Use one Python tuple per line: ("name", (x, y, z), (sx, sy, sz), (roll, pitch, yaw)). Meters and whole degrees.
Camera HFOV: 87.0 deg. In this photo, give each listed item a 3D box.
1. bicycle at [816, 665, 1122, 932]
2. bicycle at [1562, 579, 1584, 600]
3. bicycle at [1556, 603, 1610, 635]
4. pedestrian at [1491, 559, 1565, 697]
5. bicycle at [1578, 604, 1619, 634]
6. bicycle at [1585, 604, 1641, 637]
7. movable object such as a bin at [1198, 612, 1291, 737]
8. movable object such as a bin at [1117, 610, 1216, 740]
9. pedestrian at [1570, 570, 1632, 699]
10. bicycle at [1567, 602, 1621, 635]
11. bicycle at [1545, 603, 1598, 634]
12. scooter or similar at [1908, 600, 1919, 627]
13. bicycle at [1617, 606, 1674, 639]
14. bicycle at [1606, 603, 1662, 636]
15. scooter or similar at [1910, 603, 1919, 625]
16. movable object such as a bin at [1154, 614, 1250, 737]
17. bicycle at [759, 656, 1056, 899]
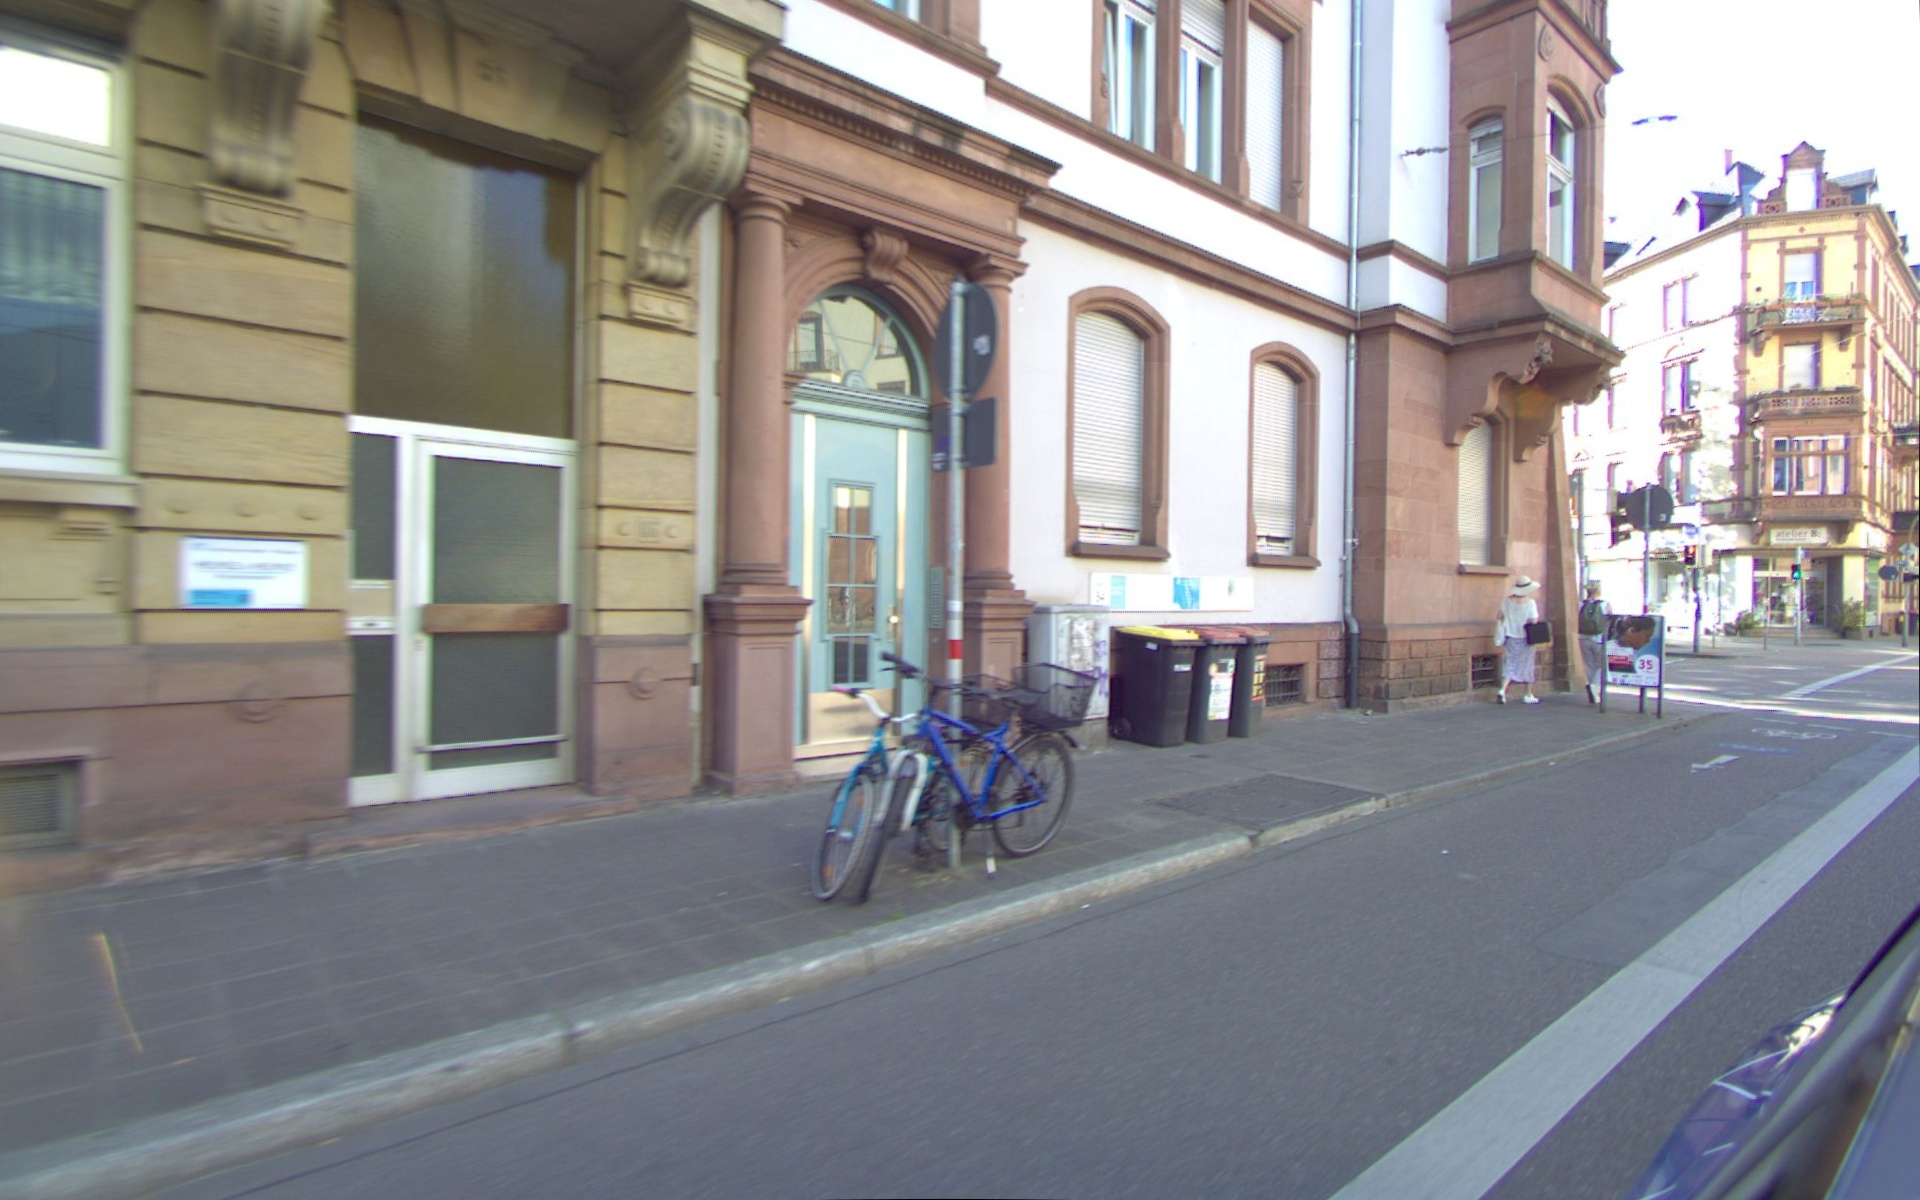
("bicycle", (0.119, 0.849, 4.860), (0.430, 0.959, 1.737), (1, 1, 42))
("bicycle", (29.901, -0.529, 49.343), (0.389, 1.016, 1.000), (0, 0, -6))
("bicycle", (24.576, 0.723, 39.916), (2.076, 1.157, 0.619), (-2, 1, -19))
("pedestrian", (7.704, 0.370, 13.733), (0.661, 1.805, 0.706), (2, -1, -42))
("bicycle", (26.315, 0.762, 41.703), (1.583, 1.157, 0.545), (-2, 1, -19))
("bicycle", (24.942, 0.765, 38.669), (2.076, 1.157, 0.619), (-2, 1, -19))
("movable object such as a bin", (2.825, 0.715, 10.064), (0.584, 1.168, 0.667), (1, 1, -42))
("movable object such as a bin", (1.889, 0.658, 9.276), (0.561, 1.090, 0.667), (0, 2, -42))
("pedestrian", (8.796, 0.450, 13.885), (0.625, 1.722, 0.672), (1, 0, 40))
("bicycle", (24.667, 0.710, 39.371), (2.076, 1.157, 0.619), (-2, 1, -19))
("bicycle", (24.497, 0.737, 40.548), (2.076, 1.157, 0.619), (-2, 1, -19))
("scooter or similar", (42.803, 0.643, 44.932), (0.538, 1.162, 0.899), (0, 5, -42))
("bicycle", (25.548, 0.828, 37.729), (2.076, 1.157, 0.619), (-1, 1, -19))
("bicycle", (25.441, 0.720, 38.186), (2.075, 1.157, 0.619), (-1, 1, -19))
("scooter or similar", (43.982, 0.643, 46.180), (0.669, 0.968, 0.792), (0, 4, -42))
("movable object such as a bin", (2.313, 0.700, 9.690), (0.561, 1.090, 0.667), (1, 1, -42))
("bicycle", (-0.197, 0.822, 5.222), (0.430, 0.959, 1.737), (1, 1, 42))
